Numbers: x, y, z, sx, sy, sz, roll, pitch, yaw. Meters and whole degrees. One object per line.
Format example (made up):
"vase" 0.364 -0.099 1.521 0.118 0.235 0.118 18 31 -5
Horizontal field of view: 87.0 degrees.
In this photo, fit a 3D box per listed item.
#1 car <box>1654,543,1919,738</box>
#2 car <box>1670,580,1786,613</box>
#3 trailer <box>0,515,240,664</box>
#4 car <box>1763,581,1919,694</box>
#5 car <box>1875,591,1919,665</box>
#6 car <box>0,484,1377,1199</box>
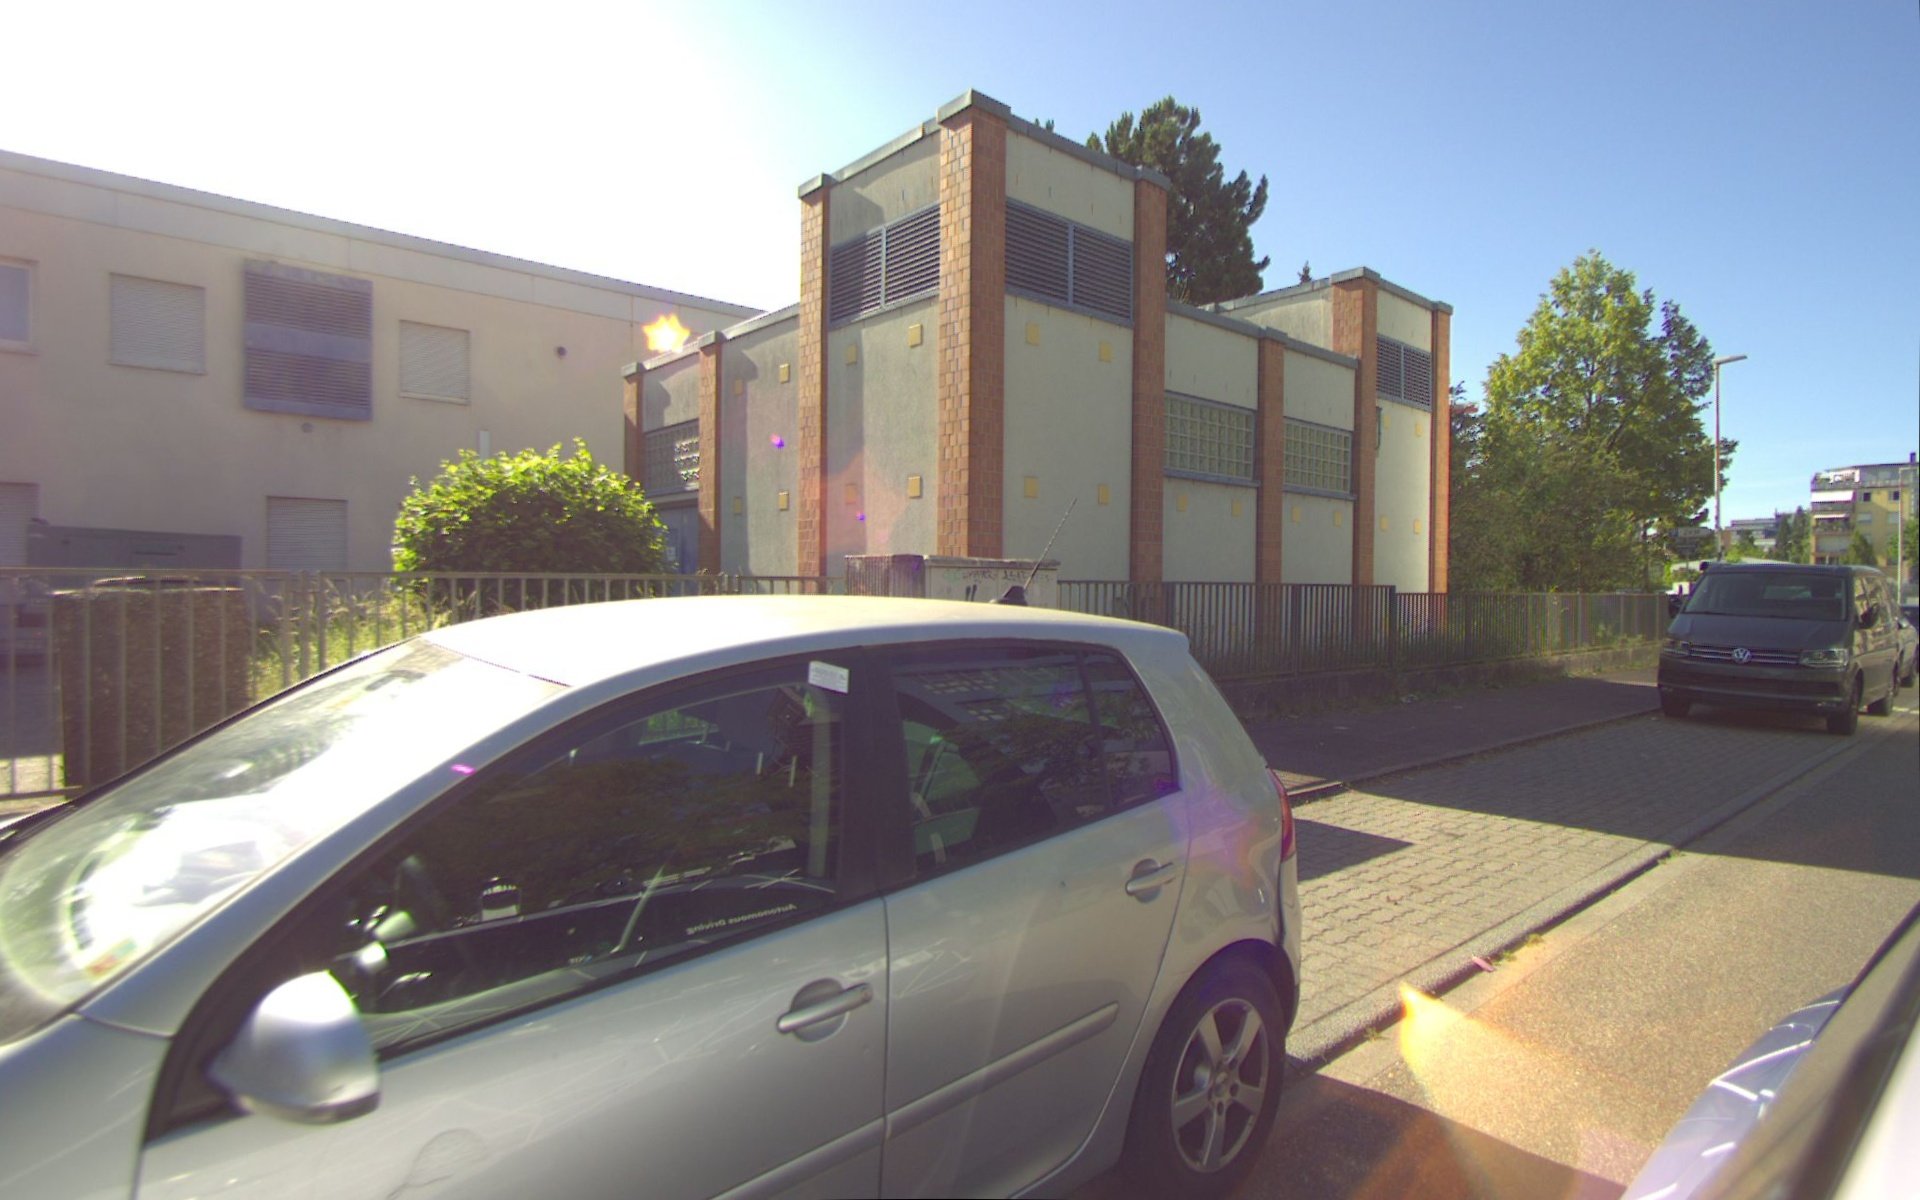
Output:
"car" 10.750 0.353 12.947 4.742 2.047 1.947 -1 3 -41
"car" 39.485 -0.213 52.088 1.964 1.630 4.423 -1 1 -38
"trailer" -13.822 -0.172 15.259 4.685 2.092 1.997 -2 2 -40
"car" 15.545 0.532 17.508 4.219 1.649 1.829 -1 3 -41
"car" 21.811 0.599 22.594 3.700 1.490 1.655 -1 3 -42
"car" -0.836 0.659 2.225 3.865 1.581 1.663 0 1 -40
